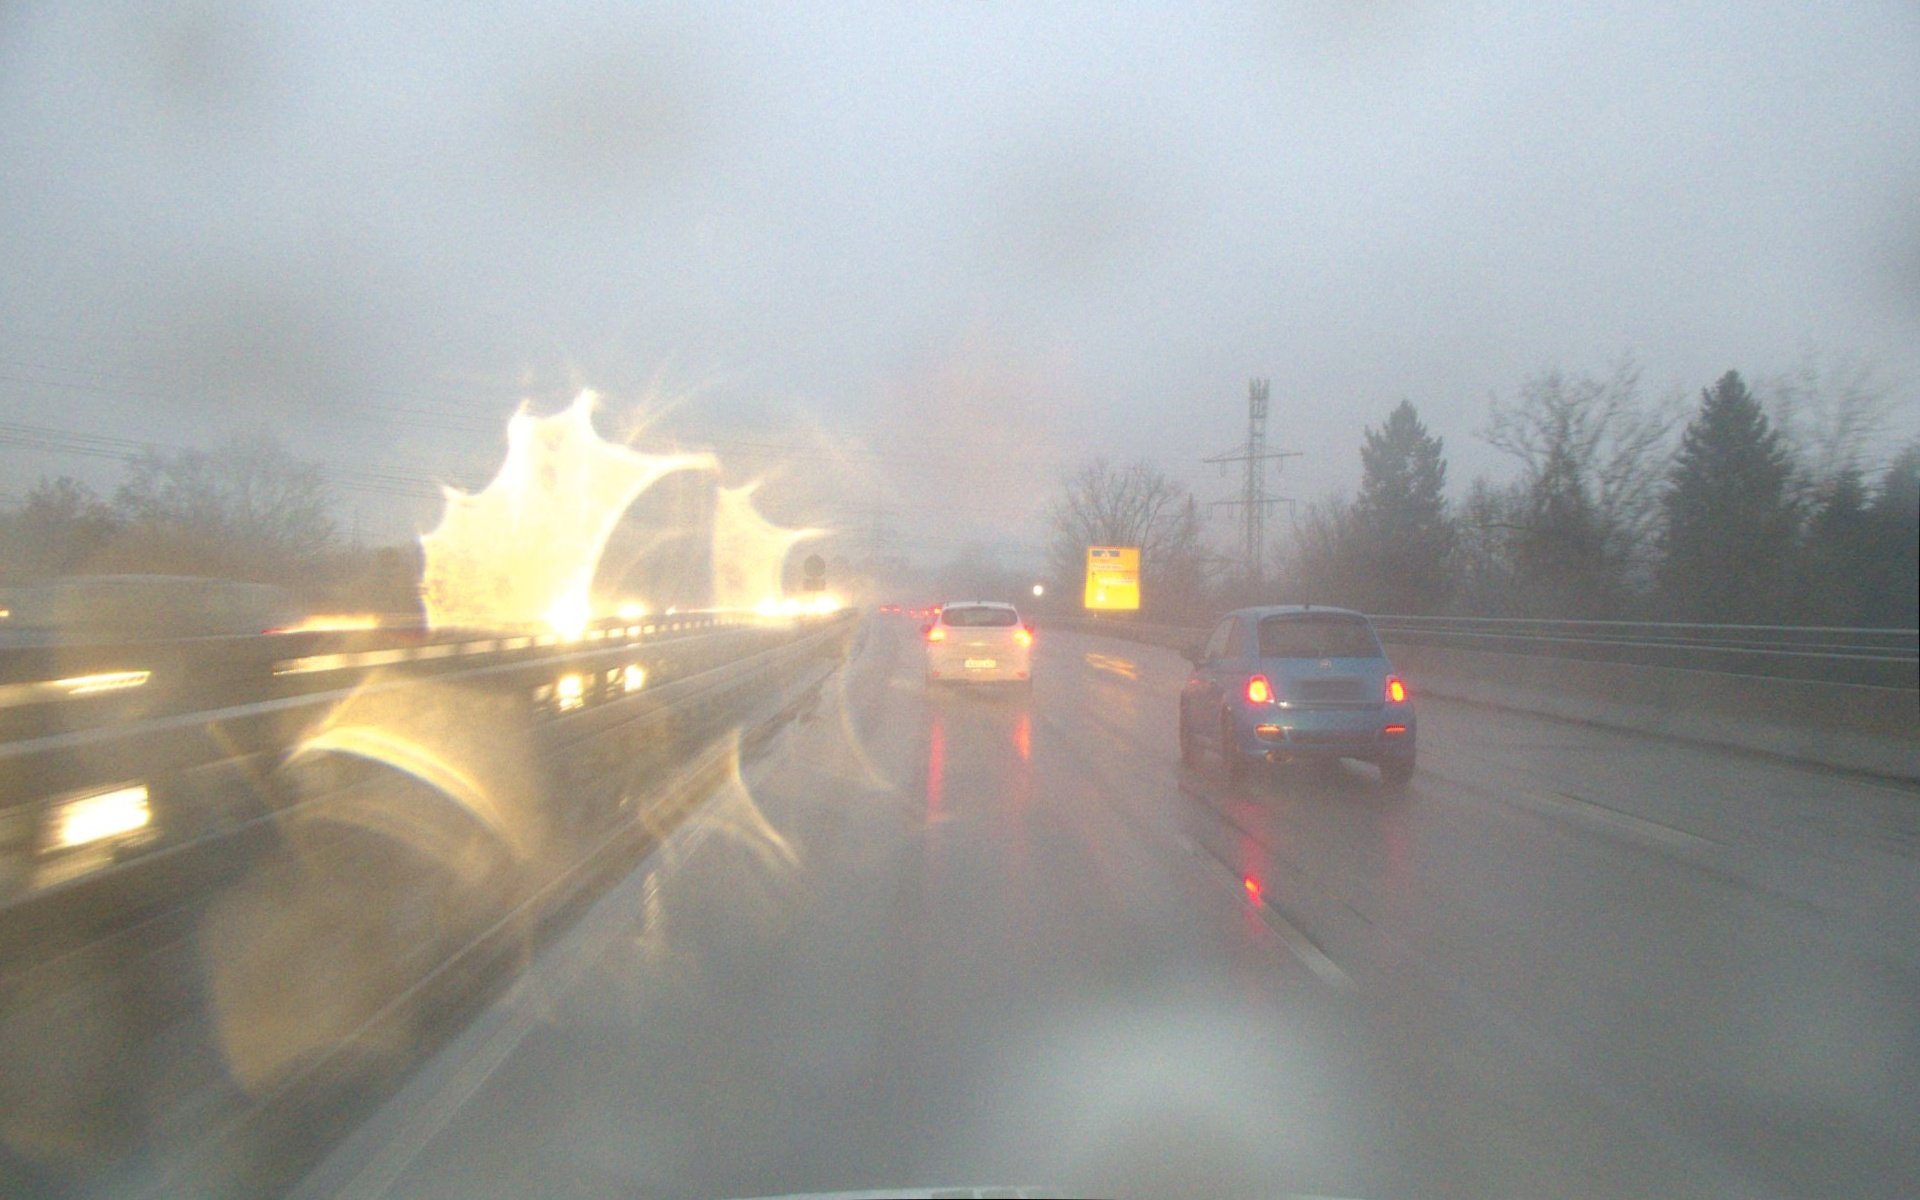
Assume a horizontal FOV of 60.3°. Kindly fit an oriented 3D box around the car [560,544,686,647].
[{"bbox_3d":[-7.899,-0.115,39.247,1.953,2.253,5.052,1,0,-1],"label":"car"}]

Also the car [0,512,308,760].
[{"bbox_3d":[-7.199,0.230,13.777,1.953,1.758,4.000,1,0,0],"label":"car"}]

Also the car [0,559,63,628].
[{"bbox_3d":[-29.445,-0.207,50.477,1.953,2.049,3.999,1,0,-1],"label":"car"}]

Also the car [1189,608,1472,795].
[{"bbox_3d":[3.429,0.873,16.092,1.808,1.479,4.149,0,1,0],"label":"car"}]

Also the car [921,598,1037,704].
[{"bbox_3d":[0.272,0.823,27.983,1.808,1.664,3.766,1,-1,-1],"label":"car"}]
